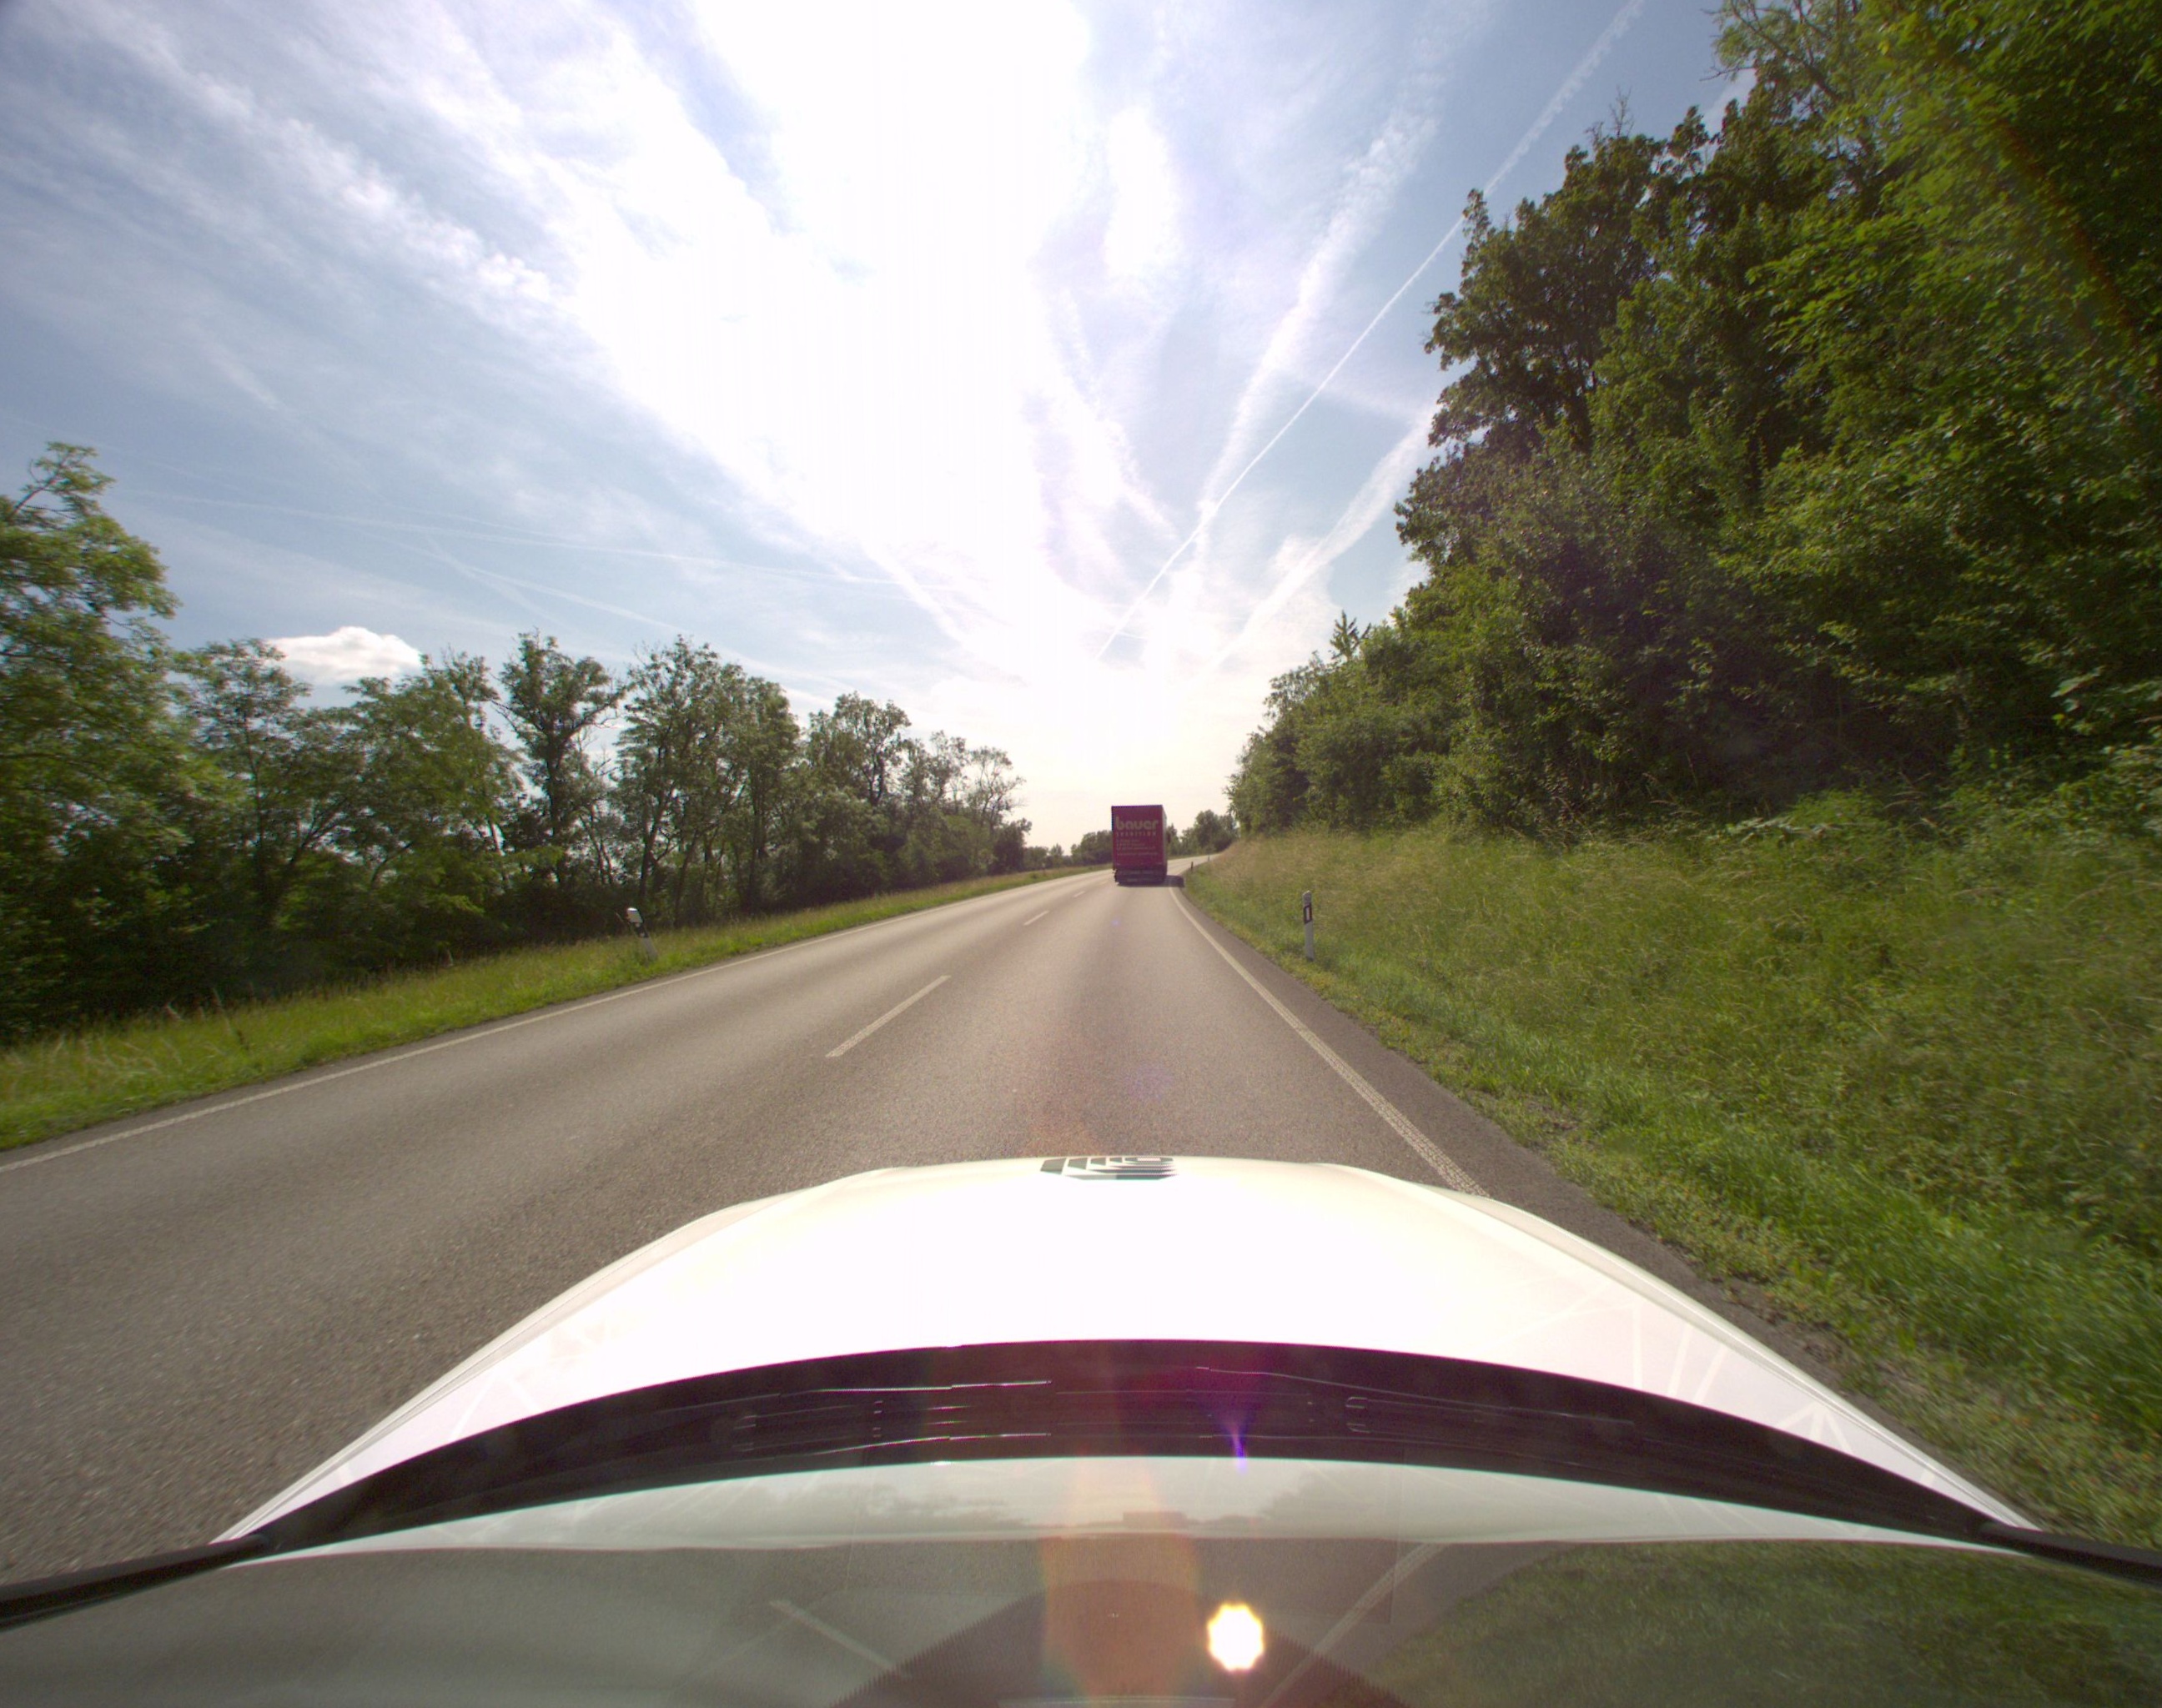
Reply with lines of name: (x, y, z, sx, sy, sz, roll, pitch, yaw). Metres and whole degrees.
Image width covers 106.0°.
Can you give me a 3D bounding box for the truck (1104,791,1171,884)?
truck: (3.440, -0.791, 45.986, 3.096, 4.506, 12.190, -1, 0, 7)
